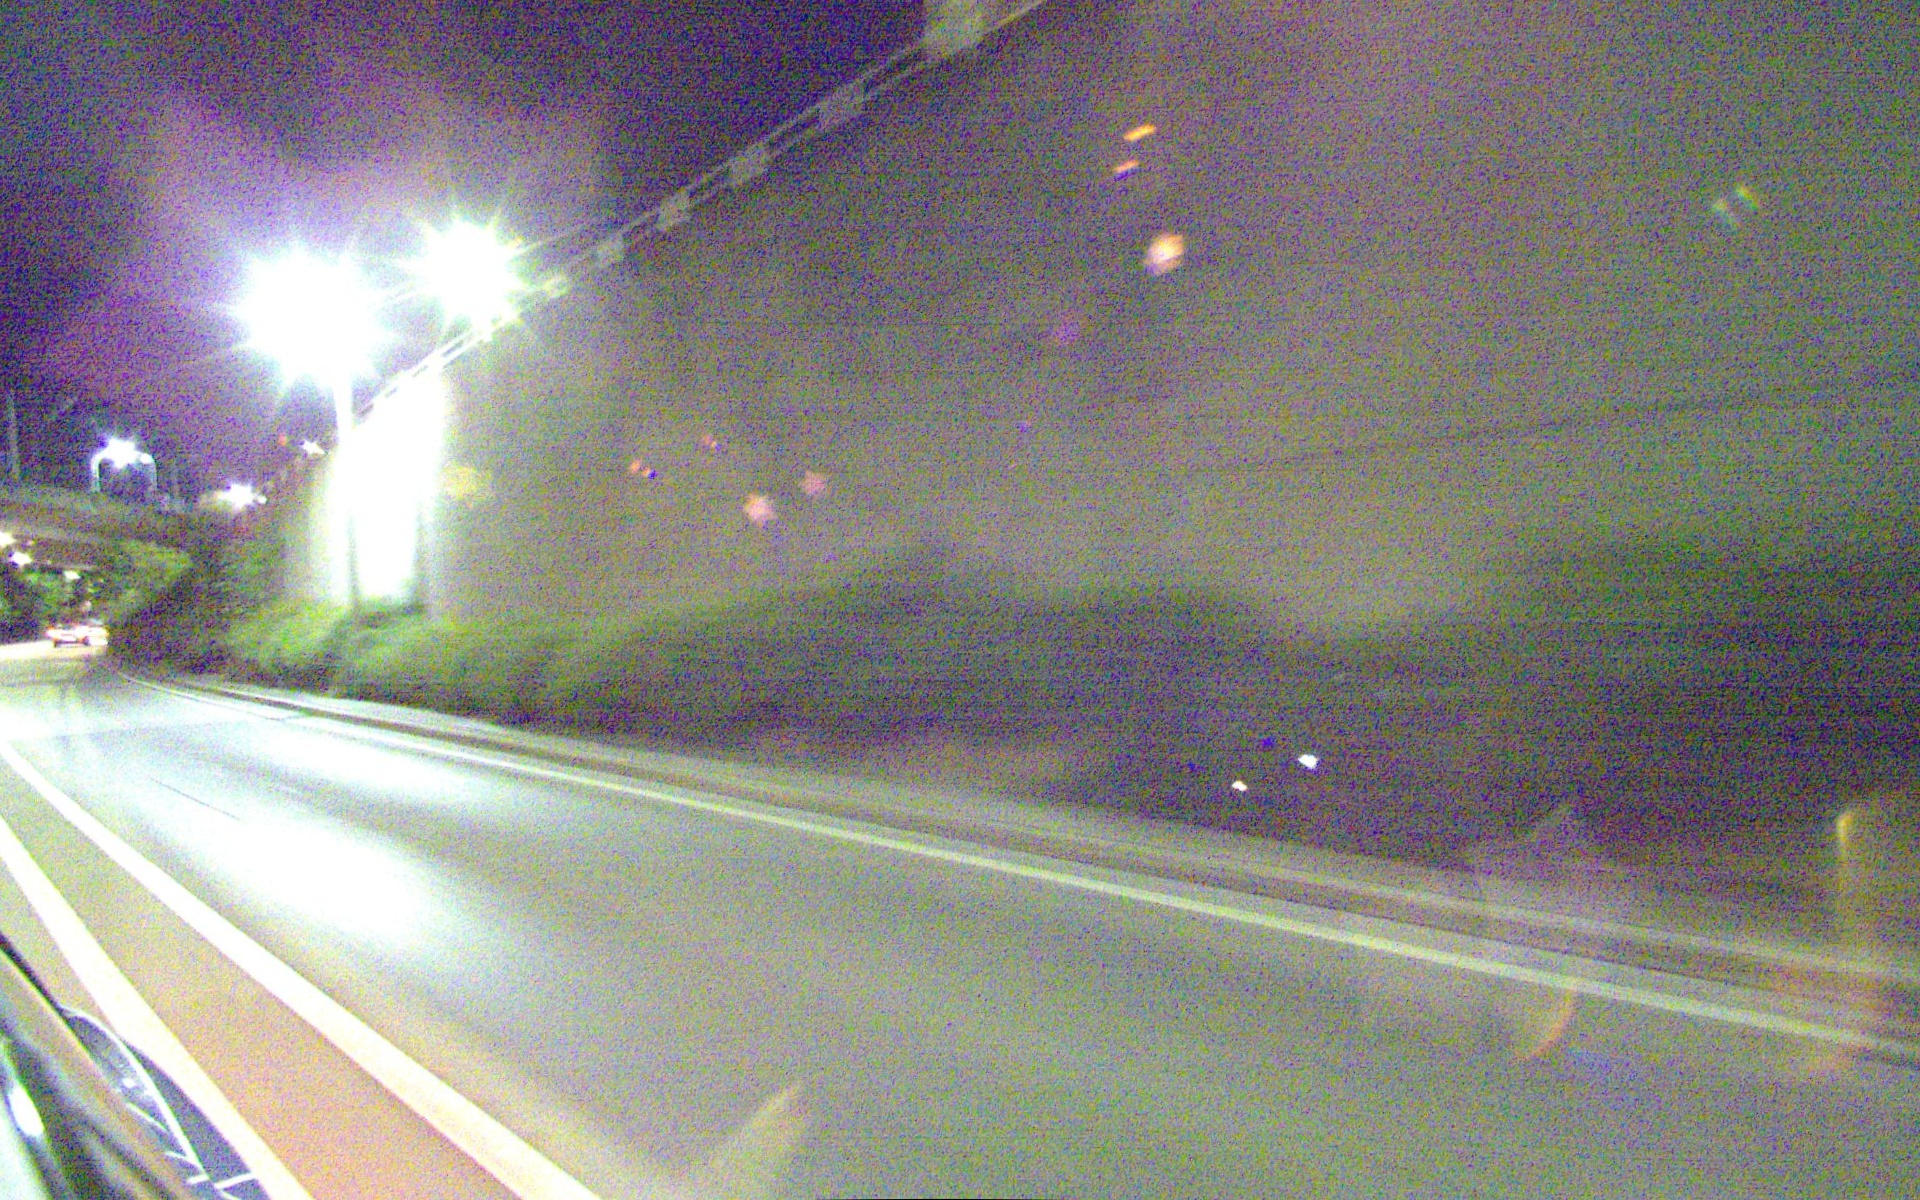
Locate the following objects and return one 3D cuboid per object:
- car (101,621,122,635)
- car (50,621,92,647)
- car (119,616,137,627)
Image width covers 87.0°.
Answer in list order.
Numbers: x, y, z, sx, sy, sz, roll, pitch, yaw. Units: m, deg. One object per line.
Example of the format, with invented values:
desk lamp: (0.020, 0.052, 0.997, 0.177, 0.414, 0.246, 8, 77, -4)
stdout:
car: (-101.119, 3.283, 120.664, 1.765, 1.458, 4.179, -3, 2, -39)
car: (-57.033, 2.138, 64.970, 1.835, 1.521, 4.007, -1, 0, -39)
car: (-139.588, 3.590, 169.894, 1.856, 1.566, 4.229, -2, 1, -33)
